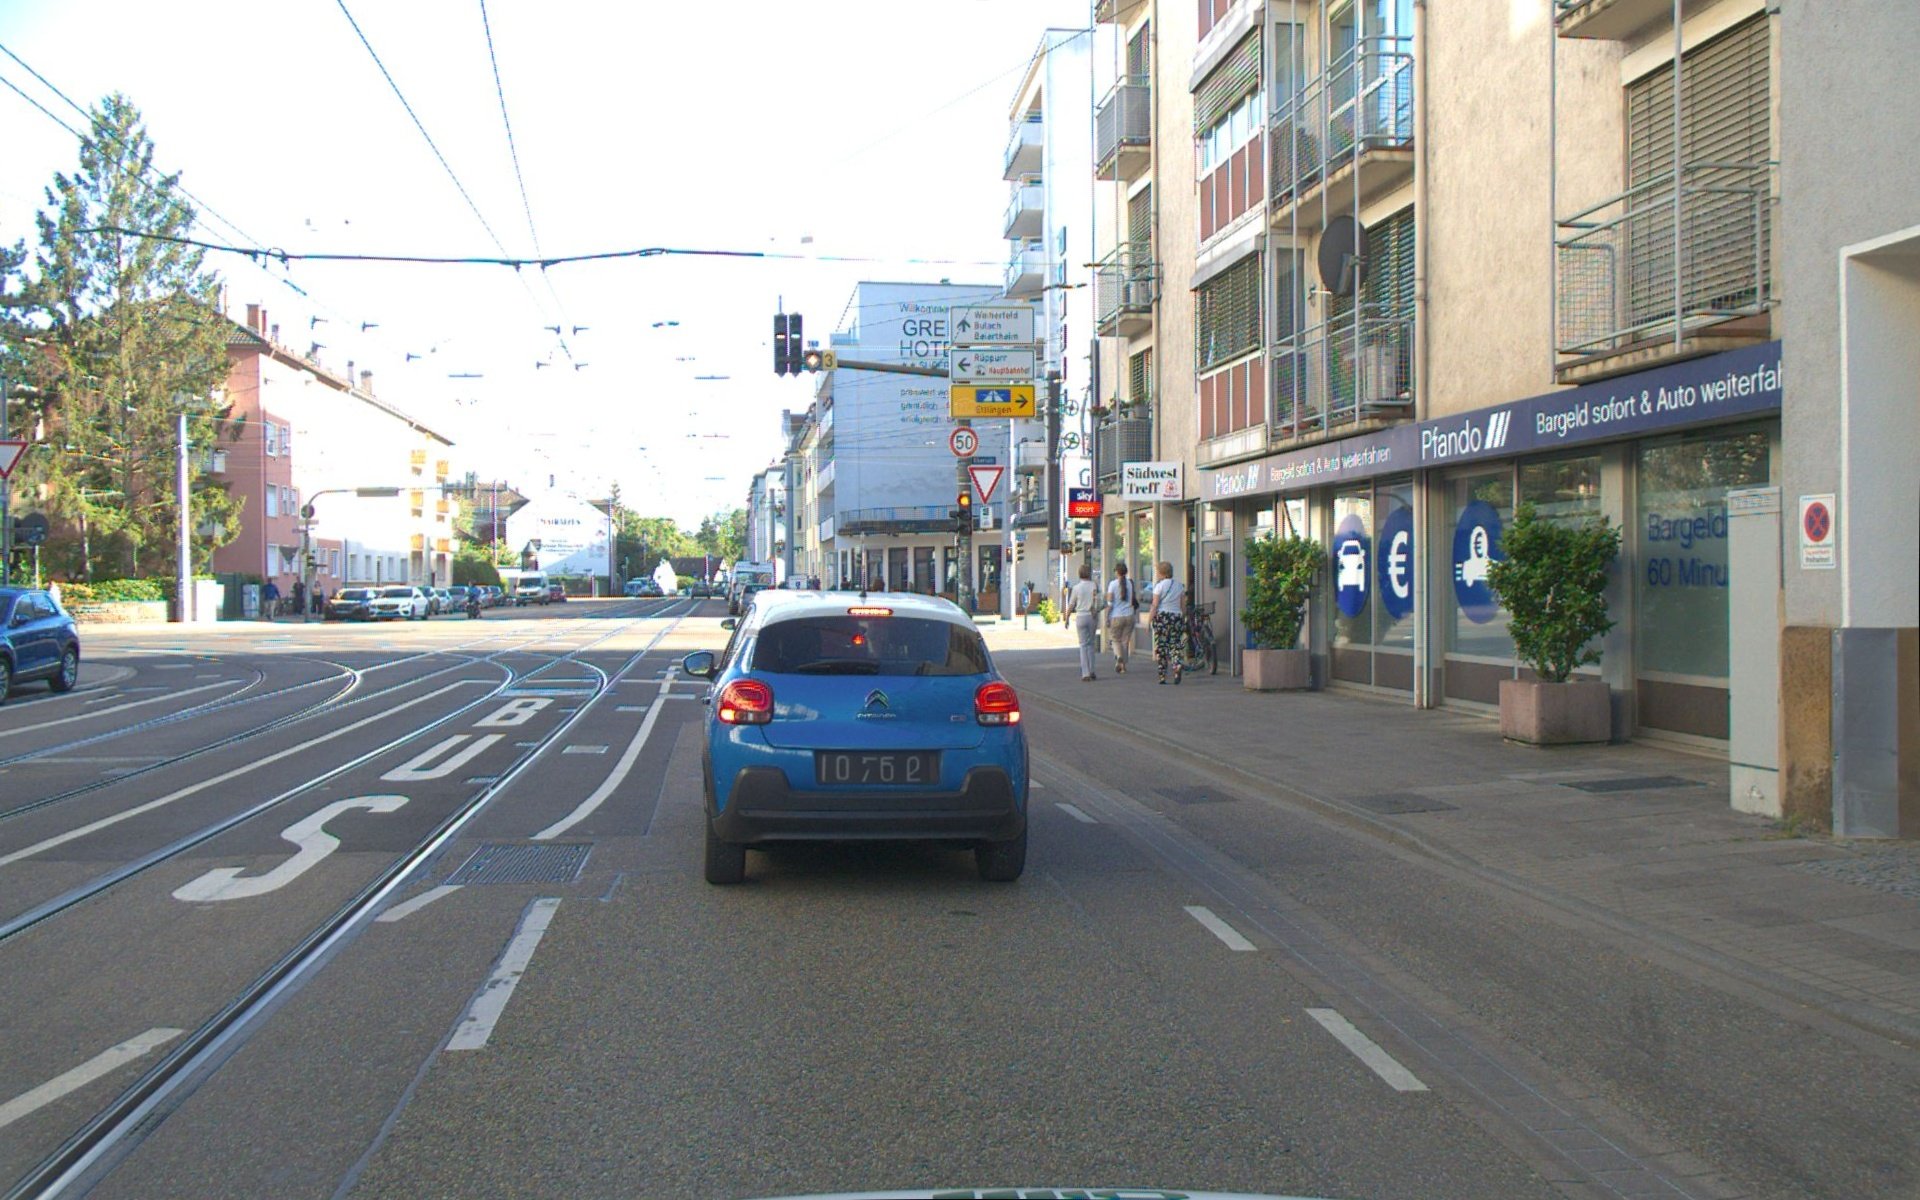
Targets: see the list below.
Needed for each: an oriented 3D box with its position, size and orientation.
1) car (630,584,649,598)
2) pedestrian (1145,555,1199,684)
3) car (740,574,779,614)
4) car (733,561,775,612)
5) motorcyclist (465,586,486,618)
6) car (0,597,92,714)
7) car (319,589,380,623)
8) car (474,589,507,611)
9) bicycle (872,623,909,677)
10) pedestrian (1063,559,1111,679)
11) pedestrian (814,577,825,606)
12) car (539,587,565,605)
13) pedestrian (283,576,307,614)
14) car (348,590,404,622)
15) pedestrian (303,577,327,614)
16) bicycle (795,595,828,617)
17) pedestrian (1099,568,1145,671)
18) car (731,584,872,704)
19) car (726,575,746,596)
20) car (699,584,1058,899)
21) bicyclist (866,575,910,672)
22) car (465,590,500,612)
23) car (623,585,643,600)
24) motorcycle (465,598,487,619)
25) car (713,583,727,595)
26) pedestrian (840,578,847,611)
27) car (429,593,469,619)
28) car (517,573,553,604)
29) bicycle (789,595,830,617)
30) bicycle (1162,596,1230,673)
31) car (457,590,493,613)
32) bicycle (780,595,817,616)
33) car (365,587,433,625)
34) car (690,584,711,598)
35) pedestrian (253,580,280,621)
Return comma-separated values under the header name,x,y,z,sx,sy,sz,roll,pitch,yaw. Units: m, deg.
name,x,y,z,sx,sy,sz,roll,pitch,yaw
car,-37.288,-1.093,192.692,1.984,1.552,3.992,-1,1,-9
pedestrian,2.878,0.260,22.515,0.531,1.701,0.649,-2,1,-7
car,-9.161,-0.270,75.507,1.700,1.780,3.207,1,0,-8
car,-10.023,-0.640,80.357,1.956,2.366,3.992,1,0,-8
motorcyclist,-21.647,0.087,73.920,0.705,1.402,0.910,0,0,-5
car,-13.793,0.724,23.190,1.713,1.536,3.990,1,0,-10
car,-27.223,0.243,73.903,1.876,1.458,3.990,-1,1,-11
car,-34.611,-0.006,121.902,1.835,1.601,3.992,0,1,-8
bicycle,-1.233,0.867,29.212,0.489,0.879,1.746,0,1,-7
pedestrian,1.845,0.267,24.021,0.531,1.701,0.623,-2,2,-7
pedestrian,-7.783,-0.486,91.536,0.484,1.583,0.645,-1,0,-17
car,-37.028,-0.386,150.101,1.984,1.552,3.992,0,1,-9
pedestrian,-30.460,-0.214,75.733,0.827,1.720,0.737,0,0,-3
car,-28.475,0.266,80.729,1.876,1.523,3.992,-1,1,-9
pedestrian,-29.612,-0.205,75.923,0.827,1.720,0.737,0,0,-3
bicycle,-6.652,0.261,74.206,1.474,0.973,0.701,-1,0,-4
pedestrian,2.475,0.290,25.314,0.531,1.534,0.610,-2,2,-7
car,-2.097,0.514,22.050,1.704,1.445,3.996,0,1,-5
car,-18.769,-1.208,138.600,1.657,1.646,3.993,1,0,-8
car,-0.657,0.665,9.921,1.711,1.488,3.993,1,0,-8
bicyclist,-1.260,0.400,28.886,0.712,1.674,0.789,0,0,-5
car,-33.702,0.066,116.833,1.876,1.523,3.992,-1,1,-9
car,-34.653,-0.828,175.324,1.984,1.552,3.992,0,1,-9
motorcycle,-21.669,0.379,74.075,0.603,0.879,1.669,0,1,-5
car,-36.755,-1.705,253.530,1.955,1.825,3.996,0,1,-5
pedestrian,-5.540,-0.256,78.463,0.279,1.583,0.304,-1,0,-14
car,-31.976,0.366,103.593,1.876,1.523,3.992,-1,1,-9
car,-32.169,-0.887,125.300,2.166,2.290,4.667,-1,1,-9
bicycle,-6.836,0.256,75.252,1.836,0.973,0.701,-1,0,-4
bicycle,3.518,0.498,24.763,0.520,1.091,1.807,0,1,-8
car,-32.809,0.083,111.947,1.876,1.523,3.992,-1,1,-9
bicycle,-7.471,0.250,76.555,1.686,0.973,0.701,-1,0,-4
car,-24.499,0.234,72.379,1.813,1.601,4.397,0,1,-5
car,-23.876,-0.821,152.375,1.724,1.281,3.821,0,1,-12
pedestrian,-29.325,-0.002,69.979,0.827,1.720,0.737,0,0,-3
